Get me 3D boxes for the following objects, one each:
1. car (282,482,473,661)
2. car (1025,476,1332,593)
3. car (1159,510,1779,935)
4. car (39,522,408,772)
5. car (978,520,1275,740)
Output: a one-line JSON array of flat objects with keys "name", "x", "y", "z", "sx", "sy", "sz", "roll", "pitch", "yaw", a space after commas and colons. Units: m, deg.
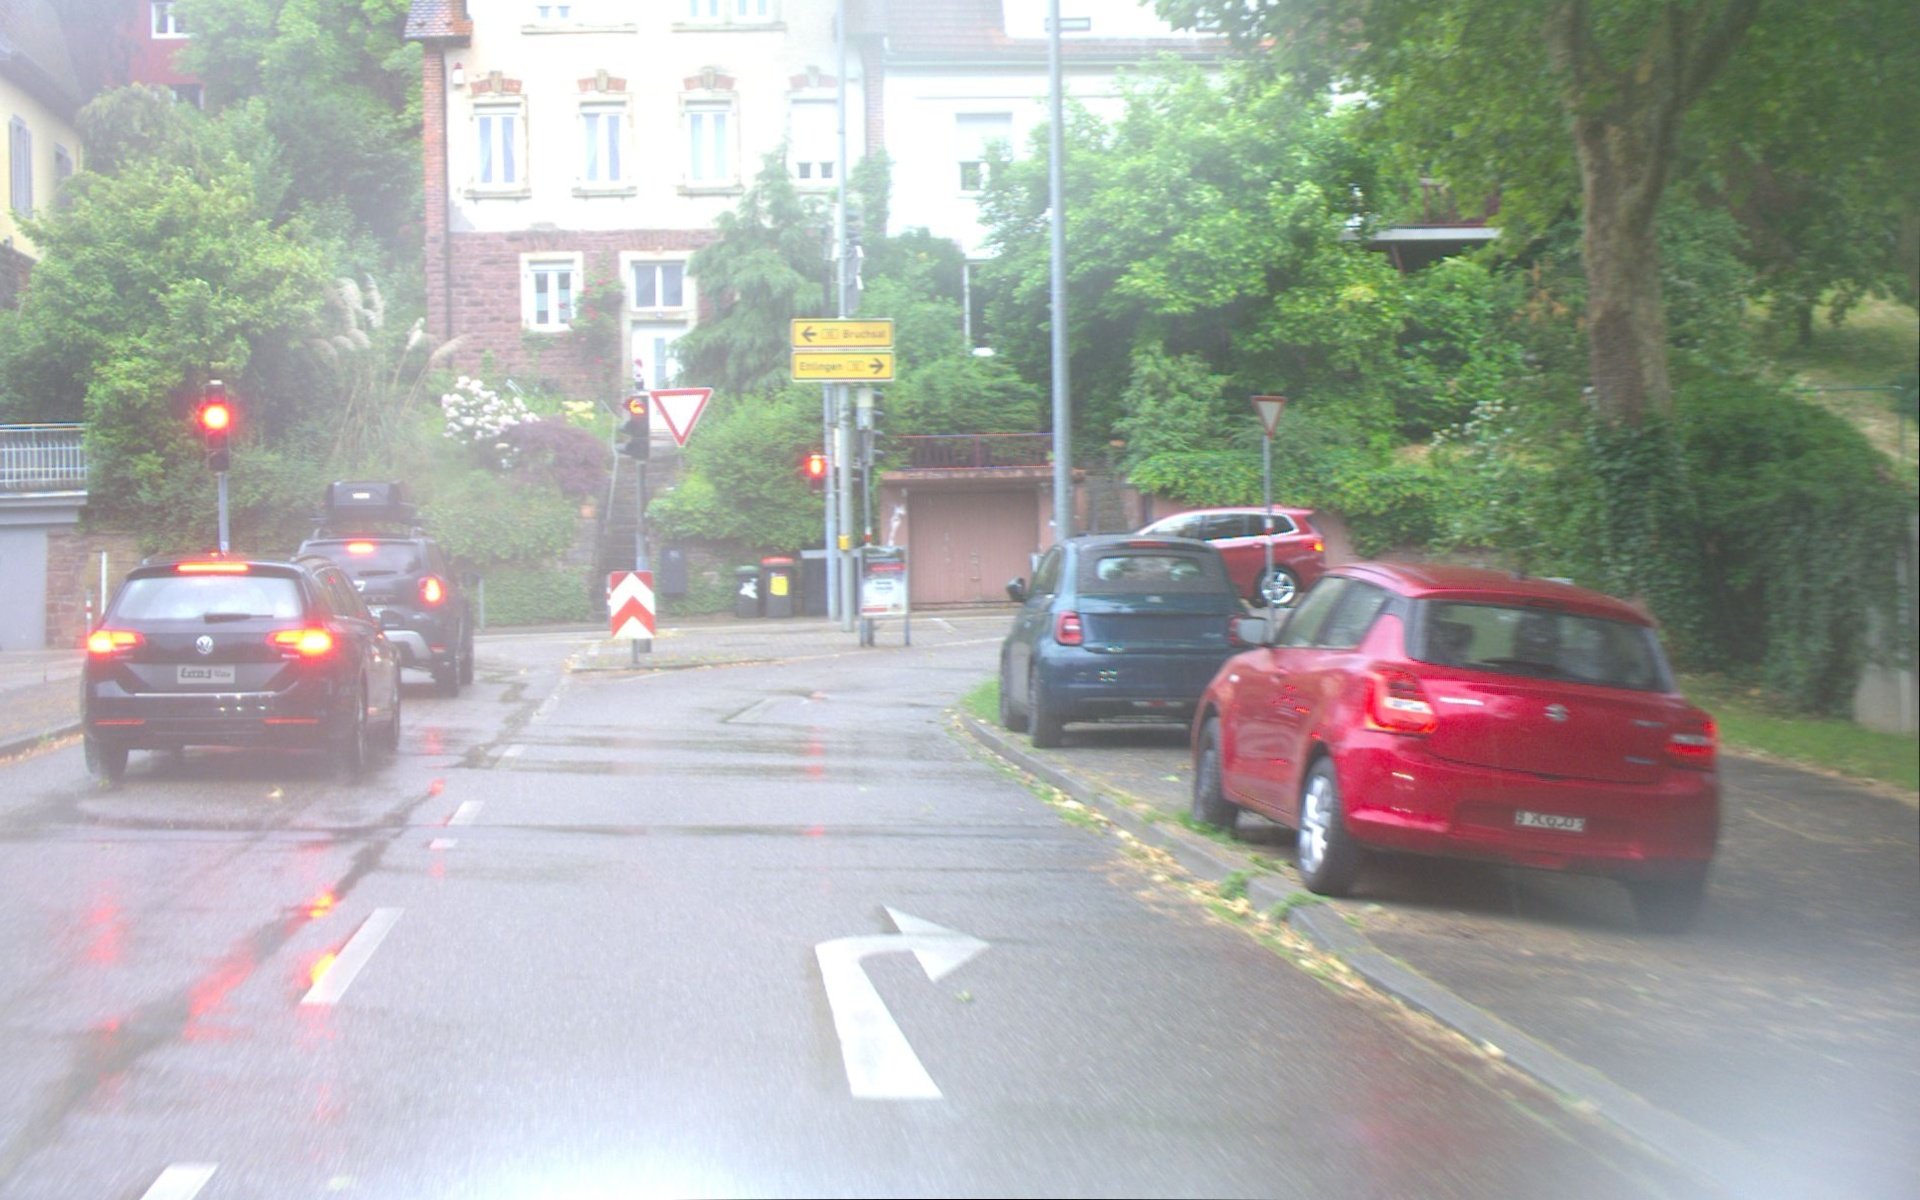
[{"name": "car", "x": -5.902, "y": -0.350, "z": 35.220, "sx": 1.760, "sy": 1.705, "sz": 4.602, "roll": 0, "pitch": 2, "yaw": -8}, {"name": "car", "x": 3.388, "y": -1.009, "z": 53.843, "sx": 4.567, "sy": 1.595, "sz": 1.775, "roll": -2, "pitch": 0, "yaw": -3}, {"name": "car", "x": 2.226, "y": 0.468, "z": 16.125, "sx": 1.819, "sy": 1.512, "sz": 3.744, "roll": 6, "pitch": 2, "yaw": -7}, {"name": "car", "x": -4.933, "y": 0.241, "z": 23.618, "sx": 1.831, "sy": 1.451, "sz": 4.659, "roll": 1, "pitch": 2, "yaw": -4}, {"name": "car", "x": 1.164, "y": 0.183, "z": 25.656, "sx": 1.749, "sy": 1.486, "sz": 3.600, "roll": 1, "pitch": 1, "yaw": -4}]
